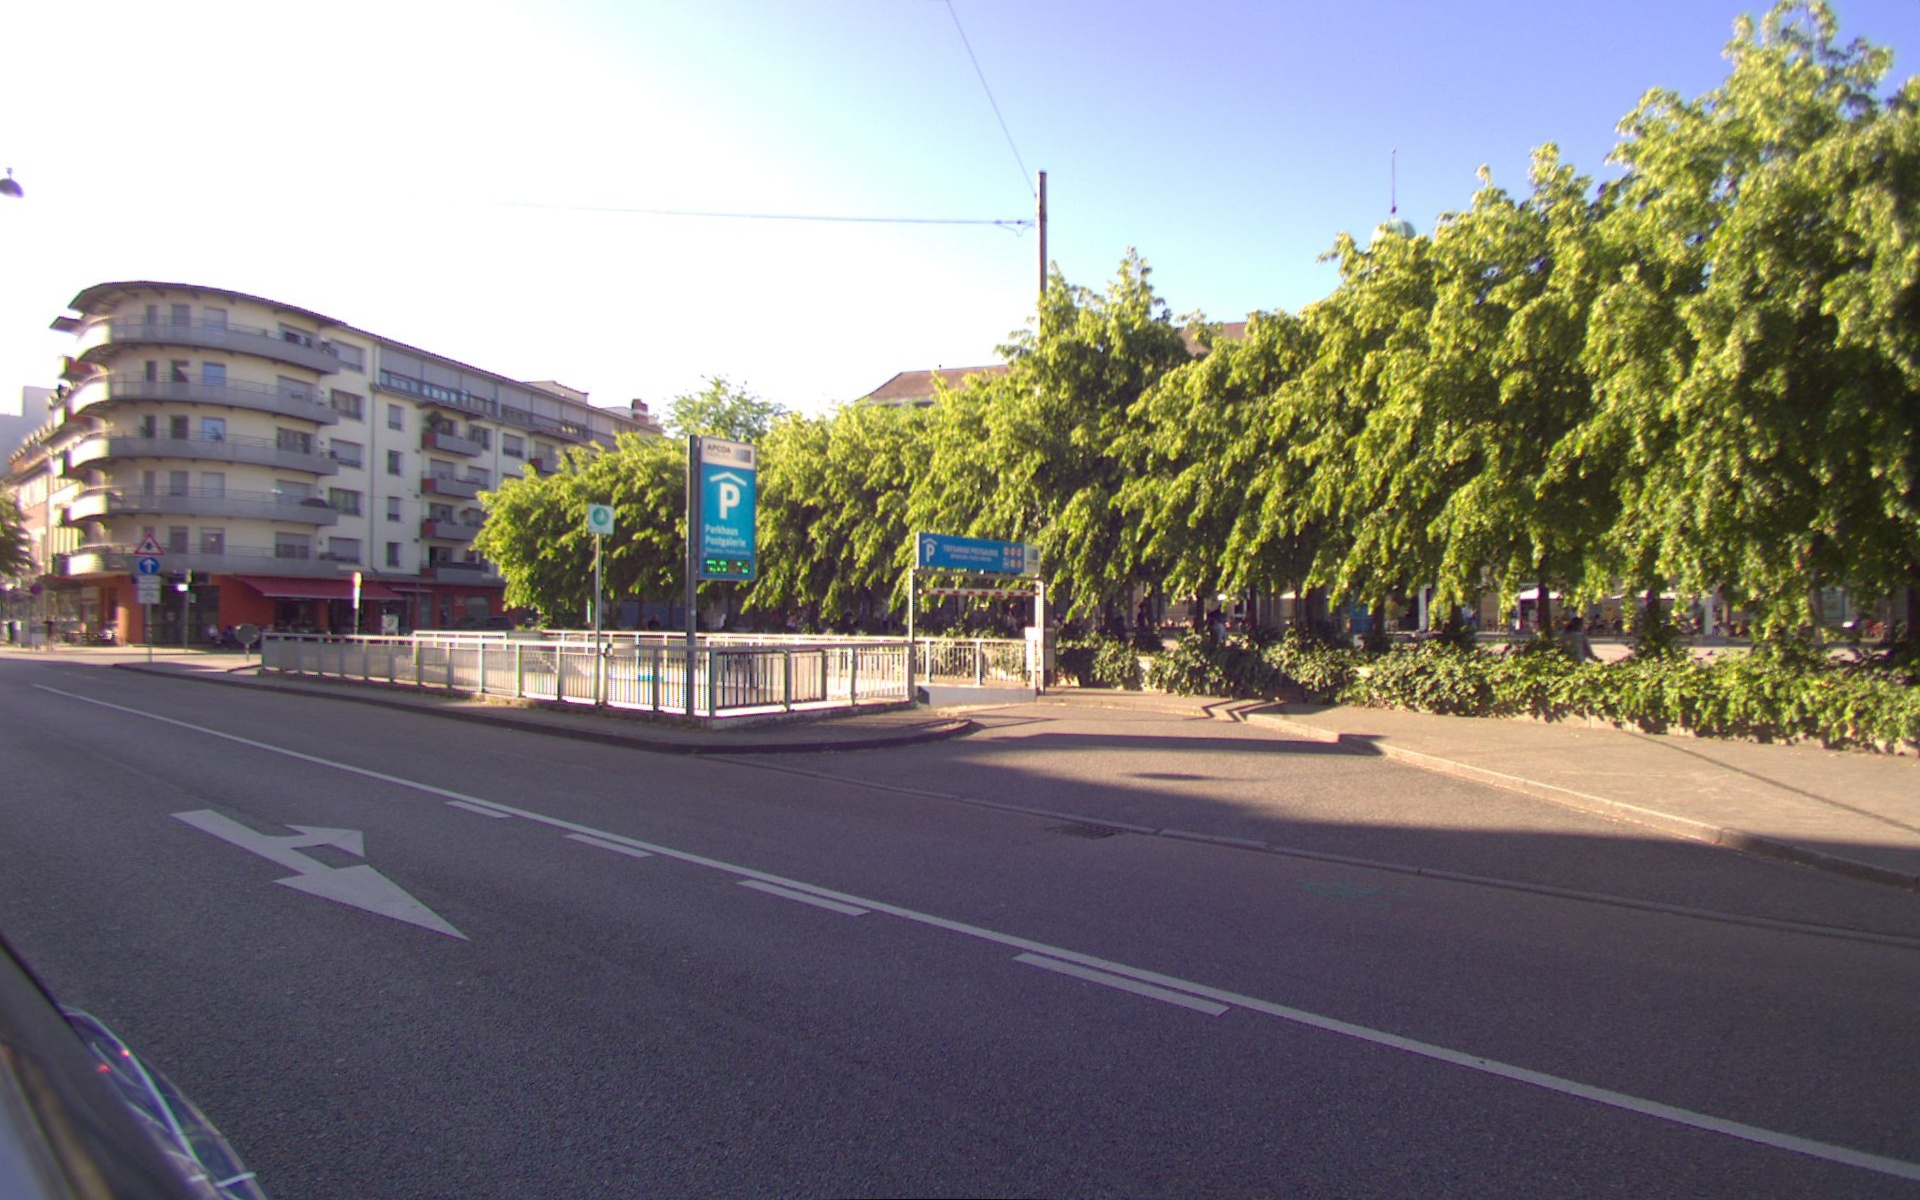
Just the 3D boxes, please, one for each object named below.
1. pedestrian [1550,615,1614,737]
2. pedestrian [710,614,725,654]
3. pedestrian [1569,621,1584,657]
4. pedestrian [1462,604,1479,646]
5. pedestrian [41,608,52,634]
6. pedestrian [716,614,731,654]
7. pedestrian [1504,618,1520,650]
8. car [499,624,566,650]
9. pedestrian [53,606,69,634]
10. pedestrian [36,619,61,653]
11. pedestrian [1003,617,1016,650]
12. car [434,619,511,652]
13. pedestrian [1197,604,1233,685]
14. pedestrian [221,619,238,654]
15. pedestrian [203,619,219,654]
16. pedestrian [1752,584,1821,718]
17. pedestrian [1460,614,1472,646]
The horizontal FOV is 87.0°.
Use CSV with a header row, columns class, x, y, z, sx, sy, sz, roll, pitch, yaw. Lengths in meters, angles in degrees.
class,x,y,z,sx,sy,sz,roll,pitch,yaw
pedestrian,9.811,1.169,15.965,0.732,1.870,0.574,-1,-1,44
pedestrian,-11.247,1.577,46.990,0.574,1.806,0.602,0,0,-5
pedestrian,31.350,1.997,51.465,0.580,1.806,0.596,-1,0,27
pedestrian,21.946,1.058,43.522,0.599,1.806,0.576,-1,-1,31
pedestrian,-53.673,1.239,59.466,0.515,1.541,0.371,-1,-1,37
pedestrian,-10.834,1.570,46.292,0.574,1.806,0.602,0,0,-5
pedestrian,31.671,1.924,58.047,0.593,1.806,0.583,-1,0,0
car,-28.892,2.473,68.594,1.938,1.633,4.272,-1,-1,16
pedestrian,-53.281,1.188,59.964,0.792,1.634,0.563,-1,-1,37
pedestrian,-44.102,1.737,48.970,0.695,1.627,0.765,-1,-1,37
pedestrian,2.762,1.882,56.491,0.578,1.806,0.597,-1,0,20
car,-30.444,2.197,63.395,1.938,1.927,4.403,-1,-1,16
pedestrian,5.955,1.022,23.629,0.674,1.870,0.577,-1,-1,30
pedestrian,-36.845,1.829,51.023,0.642,1.721,0.568,-2,-2,43
pedestrian,-37.469,1.830,50.629,0.642,1.721,0.568,-2,-2,43
pedestrian,11.865,0.719,14.541,0.597,1.870,0.578,-1,0,22
pedestrian,29.007,1.733,57.975,0.598,1.806,0.577,-1,0,27
